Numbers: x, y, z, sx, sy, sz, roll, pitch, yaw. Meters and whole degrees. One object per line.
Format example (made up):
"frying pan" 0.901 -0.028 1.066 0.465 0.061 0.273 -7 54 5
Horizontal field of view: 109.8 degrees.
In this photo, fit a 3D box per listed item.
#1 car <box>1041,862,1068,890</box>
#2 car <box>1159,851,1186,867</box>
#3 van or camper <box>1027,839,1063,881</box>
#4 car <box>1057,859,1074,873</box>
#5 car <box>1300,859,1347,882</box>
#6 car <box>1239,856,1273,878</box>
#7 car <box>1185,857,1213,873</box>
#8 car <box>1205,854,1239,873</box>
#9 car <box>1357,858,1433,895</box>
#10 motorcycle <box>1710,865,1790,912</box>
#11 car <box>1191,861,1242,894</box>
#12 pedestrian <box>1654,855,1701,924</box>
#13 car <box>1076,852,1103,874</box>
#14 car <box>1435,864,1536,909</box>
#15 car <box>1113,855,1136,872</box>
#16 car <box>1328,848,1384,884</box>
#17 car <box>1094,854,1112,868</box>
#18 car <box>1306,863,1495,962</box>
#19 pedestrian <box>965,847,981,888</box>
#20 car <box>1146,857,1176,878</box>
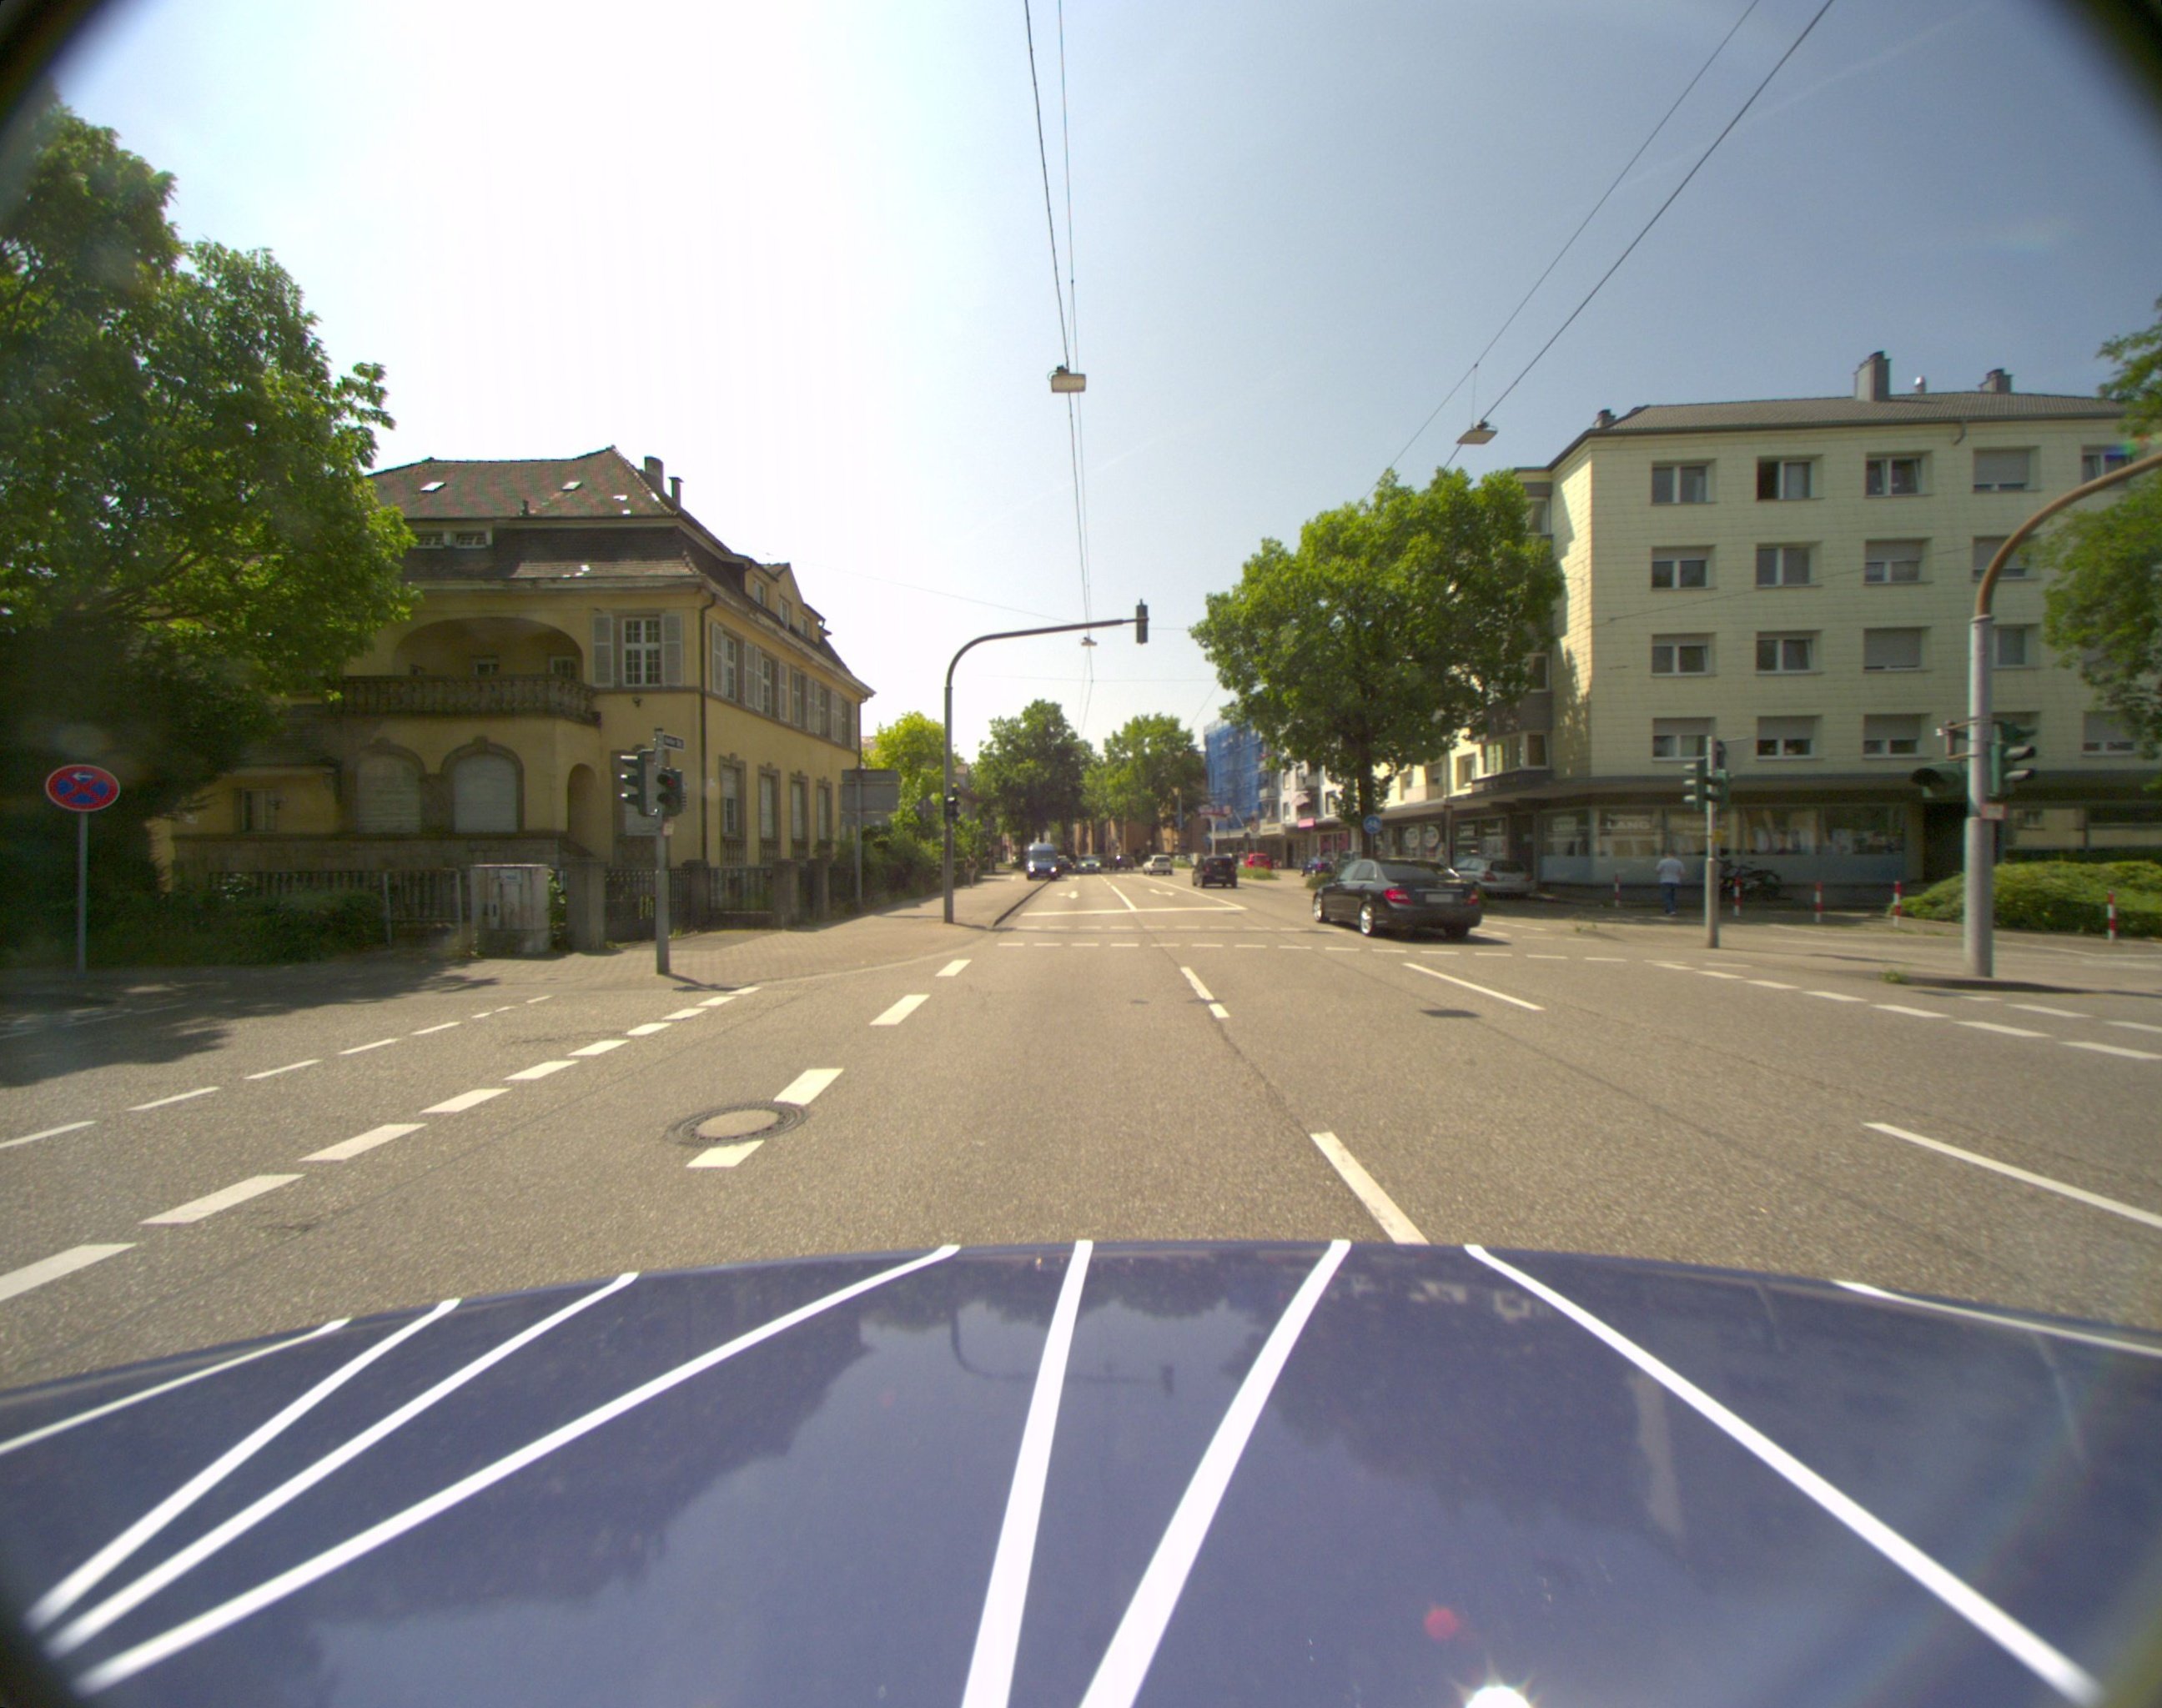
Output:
"car" -2.015 1.681 59.179 1.999 2.002 4.594 -2 0 -1
"car" 10.068 0.545 83.803 1.914 1.794 4.331 0 0 -7
"van or camper" -2.482 0.373 51.772 2.164 2.567 5.843 -3 1 -3
"car" -1.776 1.332 85.671 1.735 1.397 4.332 -2 0 -3
"car" 14.892 0.985 46.899 1.704 1.279 3.861 -1 0 0
"car" 12.308 0.887 53.648 1.639 1.459 3.634 0 0 1
"car" 11.502 1.100 74.545 1.913 1.511 4.333 0 0 -2
"car" 11.889 0.770 64.390 1.913 1.511 4.333 0 0 -2
"car" 14.564 0.974 35.506 1.626 1.560 4.839 -1 0 1
"motorcycle" 21.427 1.088 24.356 1.919 1.413 0.714 -1 2 2
"car" 6.205 1.052 35.143 1.620 1.447 3.710 1 -1 -1
"pedestrian" 15.720 0.921 20.050 0.628 1.750 0.742 -1 3 1
"car" 0.735 0.749 66.325 1.999 1.739 4.444 -2 0 -3
"car" 14.541 1.117 27.551 1.586 1.450 3.940 -1 0 1
"car" 4.270 0.967 75.279 1.985 1.629 4.225 0 0 -2
"car" 14.922 0.628 41.384 1.643 1.828 3.860 -1 0 0
"car" 2.575 0.772 89.196 1.928 1.598 3.999 -1 0 -1
"car" 5.800 0.969 14.430 1.760 1.551 4.317 0 0 0
"pedestrian" -5.064 0.609 35.704 0.621 1.907 0.744 0 1 0
"car" 6.010 0.995 57.340 1.820 1.509 4.631 0 0 0
